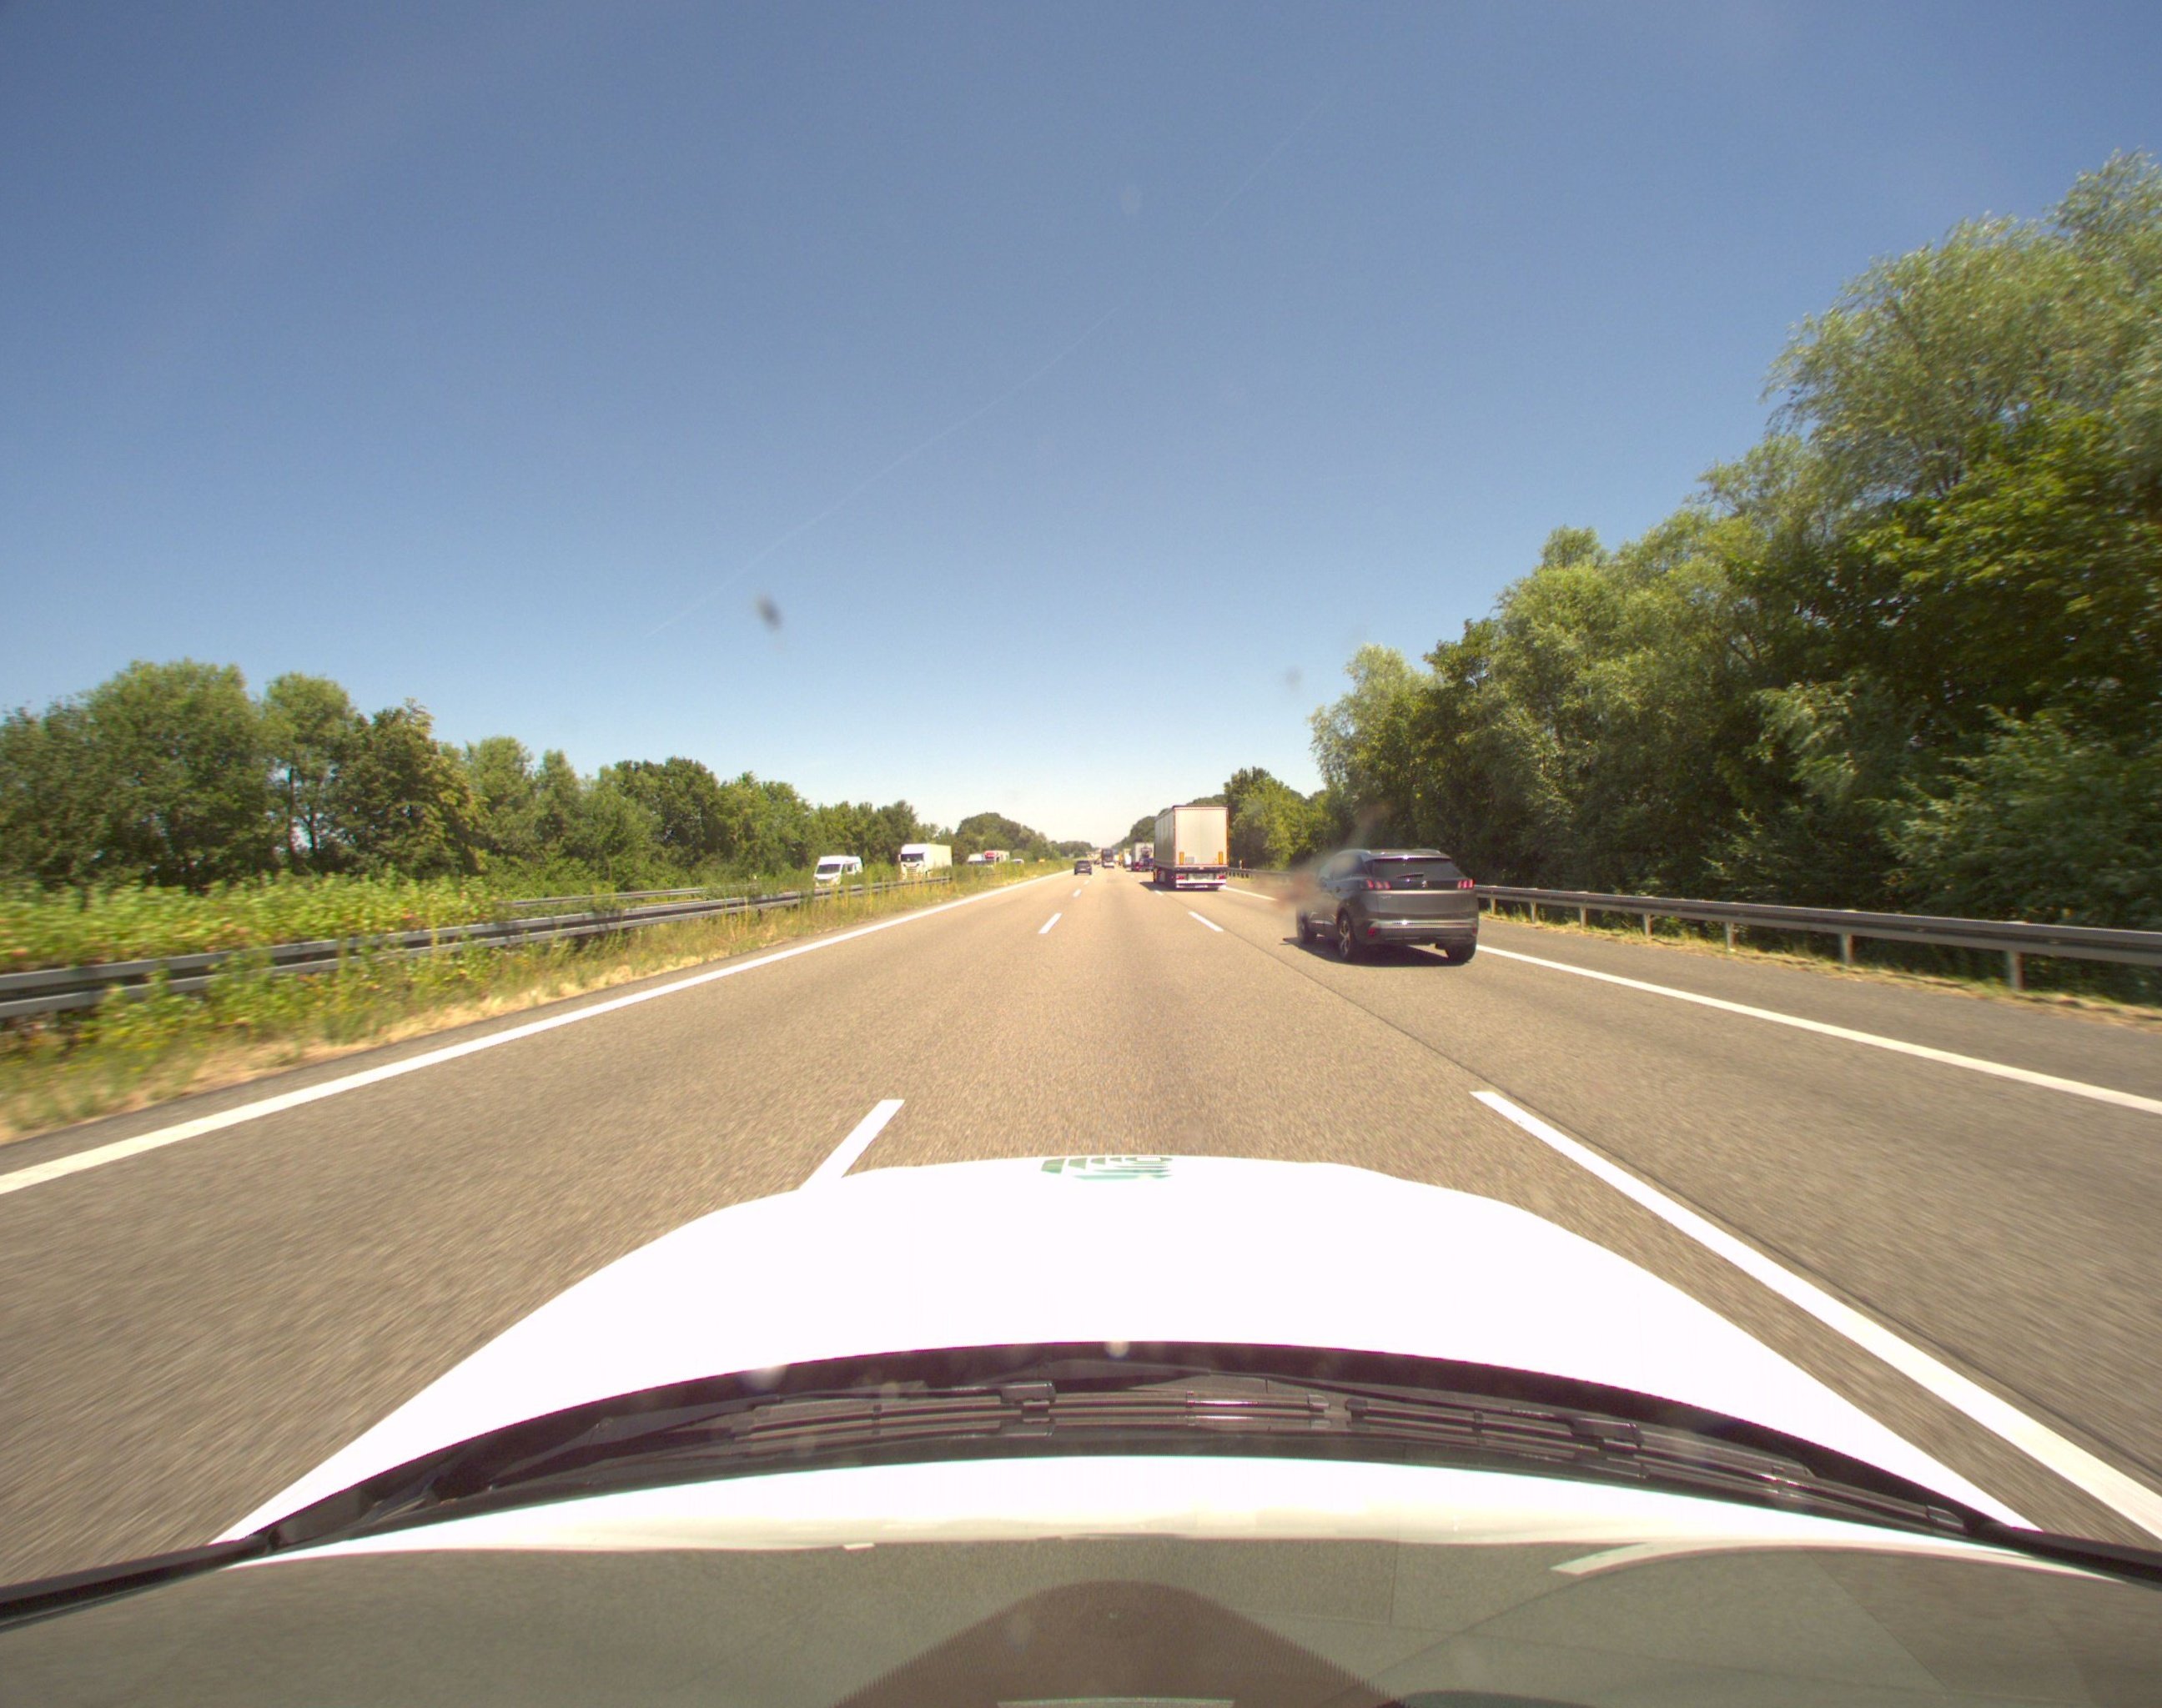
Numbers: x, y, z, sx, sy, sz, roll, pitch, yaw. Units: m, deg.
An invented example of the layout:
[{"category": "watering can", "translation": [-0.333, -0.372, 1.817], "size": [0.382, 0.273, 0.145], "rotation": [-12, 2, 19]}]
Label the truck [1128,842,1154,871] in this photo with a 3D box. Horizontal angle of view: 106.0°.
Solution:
[{"category": "truck", "translation": [8.296, 0.245, 113.832], "size": [3.047, 3.879, 10.034], "rotation": [0, 0, 1]}]

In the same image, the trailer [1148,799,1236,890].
[{"category": "trailer", "translation": [5.672, -0.416, 44.231], "size": [3.421, 4.181, 13.639], "rotation": [0, 0, 2]}]

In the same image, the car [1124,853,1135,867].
[{"category": "car", "translation": [8.668, 1.017, 146.125], "size": [1.900, 2.425, 4.287], "rotation": [0, 1, 2]}]

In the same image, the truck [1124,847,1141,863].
[{"category": "truck", "translation": [11.680, 0.167, 185.501], "size": [3.652, 3.725, 7.114], "rotation": [0, 0, 3]}]

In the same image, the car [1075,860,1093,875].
[{"category": "car", "translation": [0.355, 1.387, 84.932], "size": [1.752, 1.531, 4.287], "rotation": [0, 1, 2]}]

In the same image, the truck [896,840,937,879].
[{"category": "truck", "translation": [-18.063, 0.545, 90.085], "size": [3.060, 4.111, 6.527], "rotation": [0, 0, 1]}]

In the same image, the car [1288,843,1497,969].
[{"category": "car", "translation": [4.644, 0.690, 12.838], "size": [1.838, 1.629, 4.137], "rotation": [-1, 0, 2]}]

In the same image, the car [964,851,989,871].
[{"category": "car", "translation": [-12.719, 0.836, 99.280], "size": [2.201, 2.362, 5.298], "rotation": [-2, 0, 1]}]

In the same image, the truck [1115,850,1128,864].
[{"category": "truck", "translation": [11.362, 0.798, 229.535], "size": [3.475, 3.725, 7.114], "rotation": [0, 0, 3]}]

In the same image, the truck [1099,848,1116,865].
[{"category": "truck", "translation": [6.096, 0.589, 185.319], "size": [3.652, 3.725, 7.114], "rotation": [0, 0, 3]}]

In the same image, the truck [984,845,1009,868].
[{"category": "truck", "translation": [-15.736, 0.393, 152.577], "size": [3.059, 4.310, 10.633], "rotation": [0, 0, 2]}]

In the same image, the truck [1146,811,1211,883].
[{"category": "truck", "translation": [5.870, -0.344, 50.377], "size": [3.451, 4.177, 6.847], "rotation": [0, -1, 2]}]

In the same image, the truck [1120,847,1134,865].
[{"category": "truck", "translation": [9.572, 0.334, 170.341], "size": [2.781, 3.725, 7.114], "rotation": [0, 0, 3]}]

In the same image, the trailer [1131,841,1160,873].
[{"category": "trailer", "translation": [8.126, 0.348, 103.827], "size": [3.111, 3.926, 9.938], "rotation": [0, 0, 1]}]

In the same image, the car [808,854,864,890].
[{"category": "car", "translation": [-18.027, 1.286, 60.325], "size": [2.095, 2.463, 6.017], "rotation": [-2, 0, 1]}]

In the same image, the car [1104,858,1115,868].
[{"category": "car", "translation": [5.090, 1.565, 143.752], "size": [1.893, 1.531, 4.086], "rotation": [0, 1, 2]}]

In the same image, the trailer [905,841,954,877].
[{"category": "trailer", "translation": [-17.853, 0.502, 97.028], "size": [3.036, 4.039, 12.240], "rotation": [-1, 0, 2]}]
